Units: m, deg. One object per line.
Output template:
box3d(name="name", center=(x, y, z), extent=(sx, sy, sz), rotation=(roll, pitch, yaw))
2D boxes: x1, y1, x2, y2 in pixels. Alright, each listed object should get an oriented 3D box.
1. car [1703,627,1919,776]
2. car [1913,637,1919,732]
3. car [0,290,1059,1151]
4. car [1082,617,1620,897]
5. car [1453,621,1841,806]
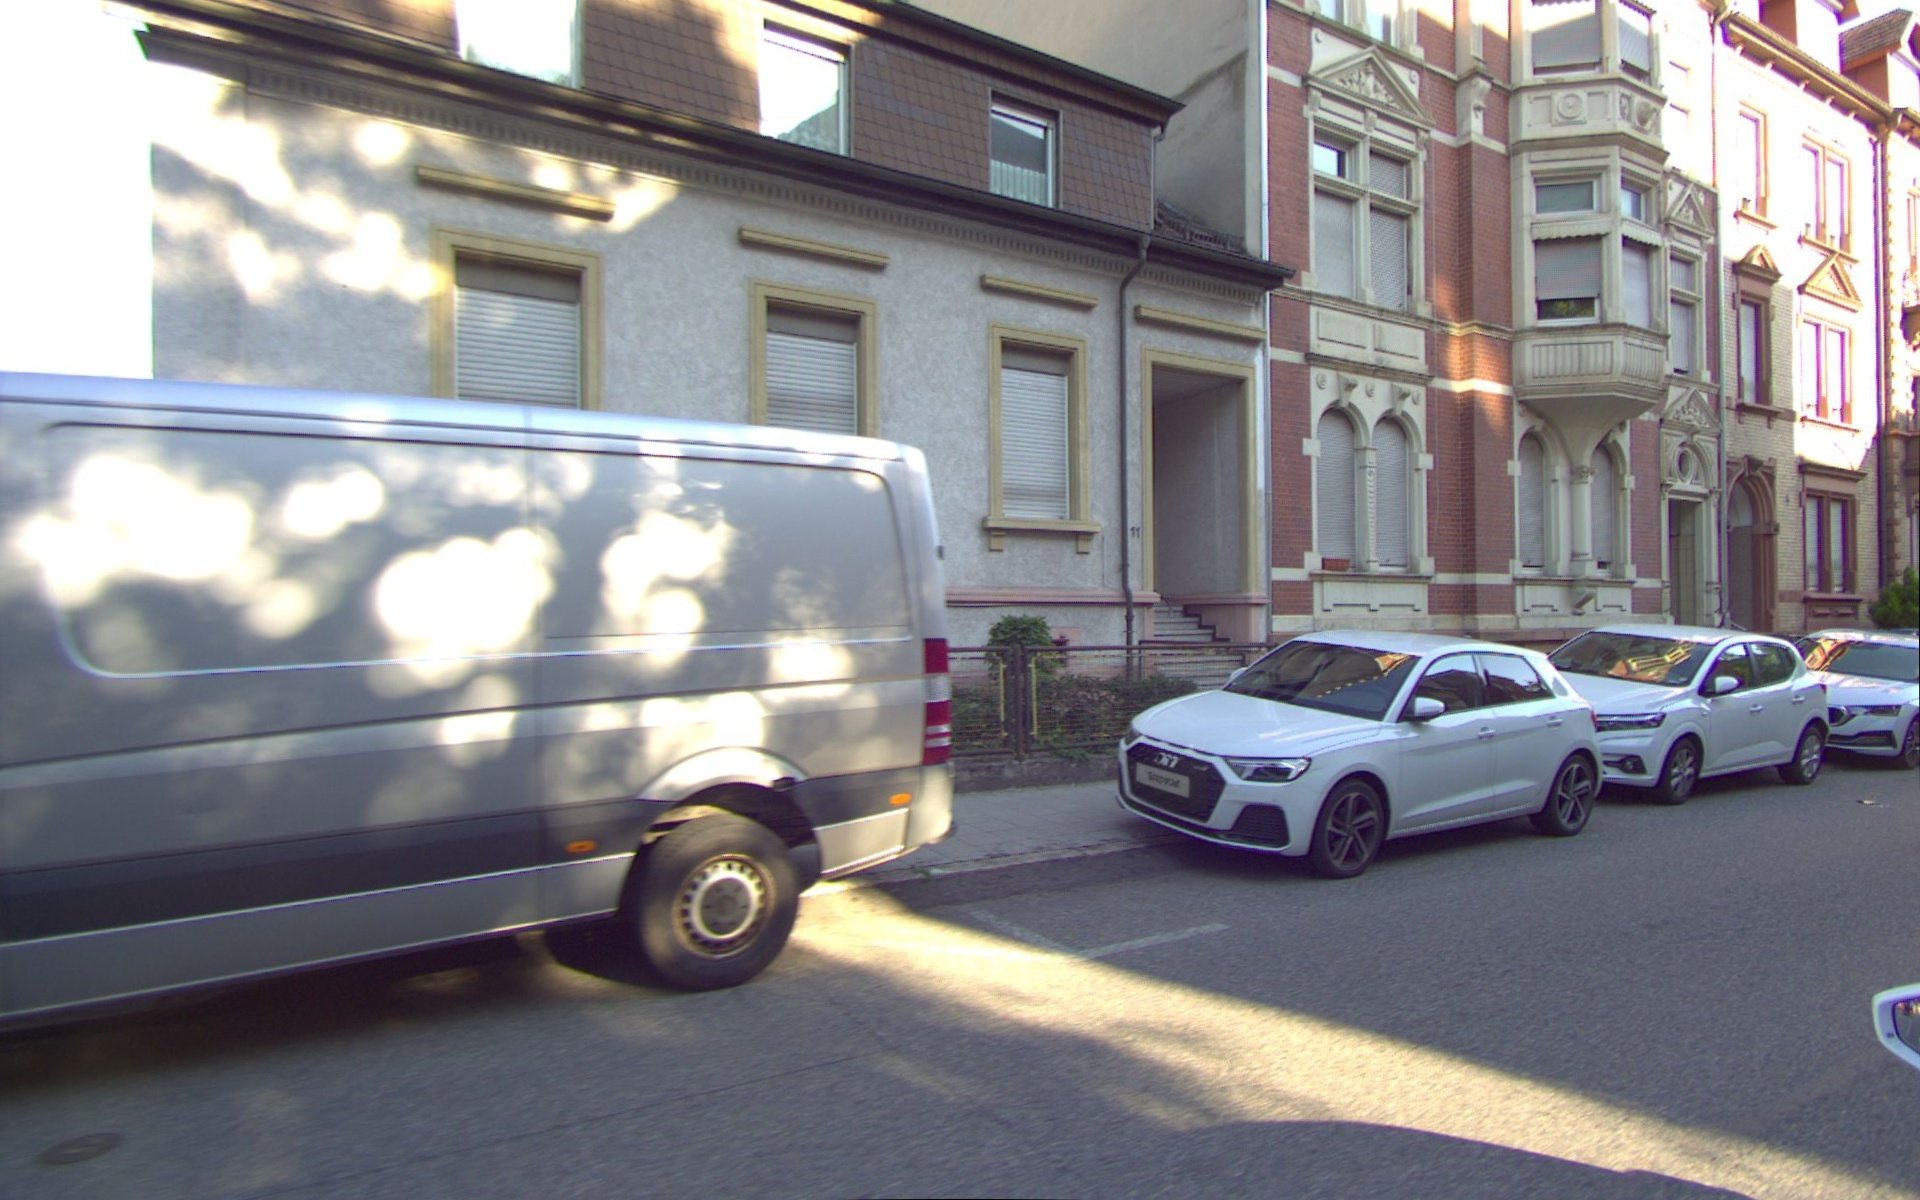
box3d(name="car", center=(11.428, 1.147, 12.709), extent=(4.497, 1.557, 1.694), rotation=(1, 0, -31))
box3d(name="car", center=(15.997, 1.261, 14.964), extent=(3.816, 1.385, 1.694), rotation=(1, 0, -31))
box3d(name="car", center=(-2.612, 0.358, 4.193), extent=(5.942, 2.493, 2.058), rotation=(1, 0, -30))
box3d(name="car", center=(2.901, 0.905, 7.275), extent=(3.780, 1.523, 1.694), rotation=(1, 0, -31))
box3d(name="car", center=(7.007, 0.997, 10.176), extent=(3.973, 1.523, 1.694), rotation=(1, 0, -30))
